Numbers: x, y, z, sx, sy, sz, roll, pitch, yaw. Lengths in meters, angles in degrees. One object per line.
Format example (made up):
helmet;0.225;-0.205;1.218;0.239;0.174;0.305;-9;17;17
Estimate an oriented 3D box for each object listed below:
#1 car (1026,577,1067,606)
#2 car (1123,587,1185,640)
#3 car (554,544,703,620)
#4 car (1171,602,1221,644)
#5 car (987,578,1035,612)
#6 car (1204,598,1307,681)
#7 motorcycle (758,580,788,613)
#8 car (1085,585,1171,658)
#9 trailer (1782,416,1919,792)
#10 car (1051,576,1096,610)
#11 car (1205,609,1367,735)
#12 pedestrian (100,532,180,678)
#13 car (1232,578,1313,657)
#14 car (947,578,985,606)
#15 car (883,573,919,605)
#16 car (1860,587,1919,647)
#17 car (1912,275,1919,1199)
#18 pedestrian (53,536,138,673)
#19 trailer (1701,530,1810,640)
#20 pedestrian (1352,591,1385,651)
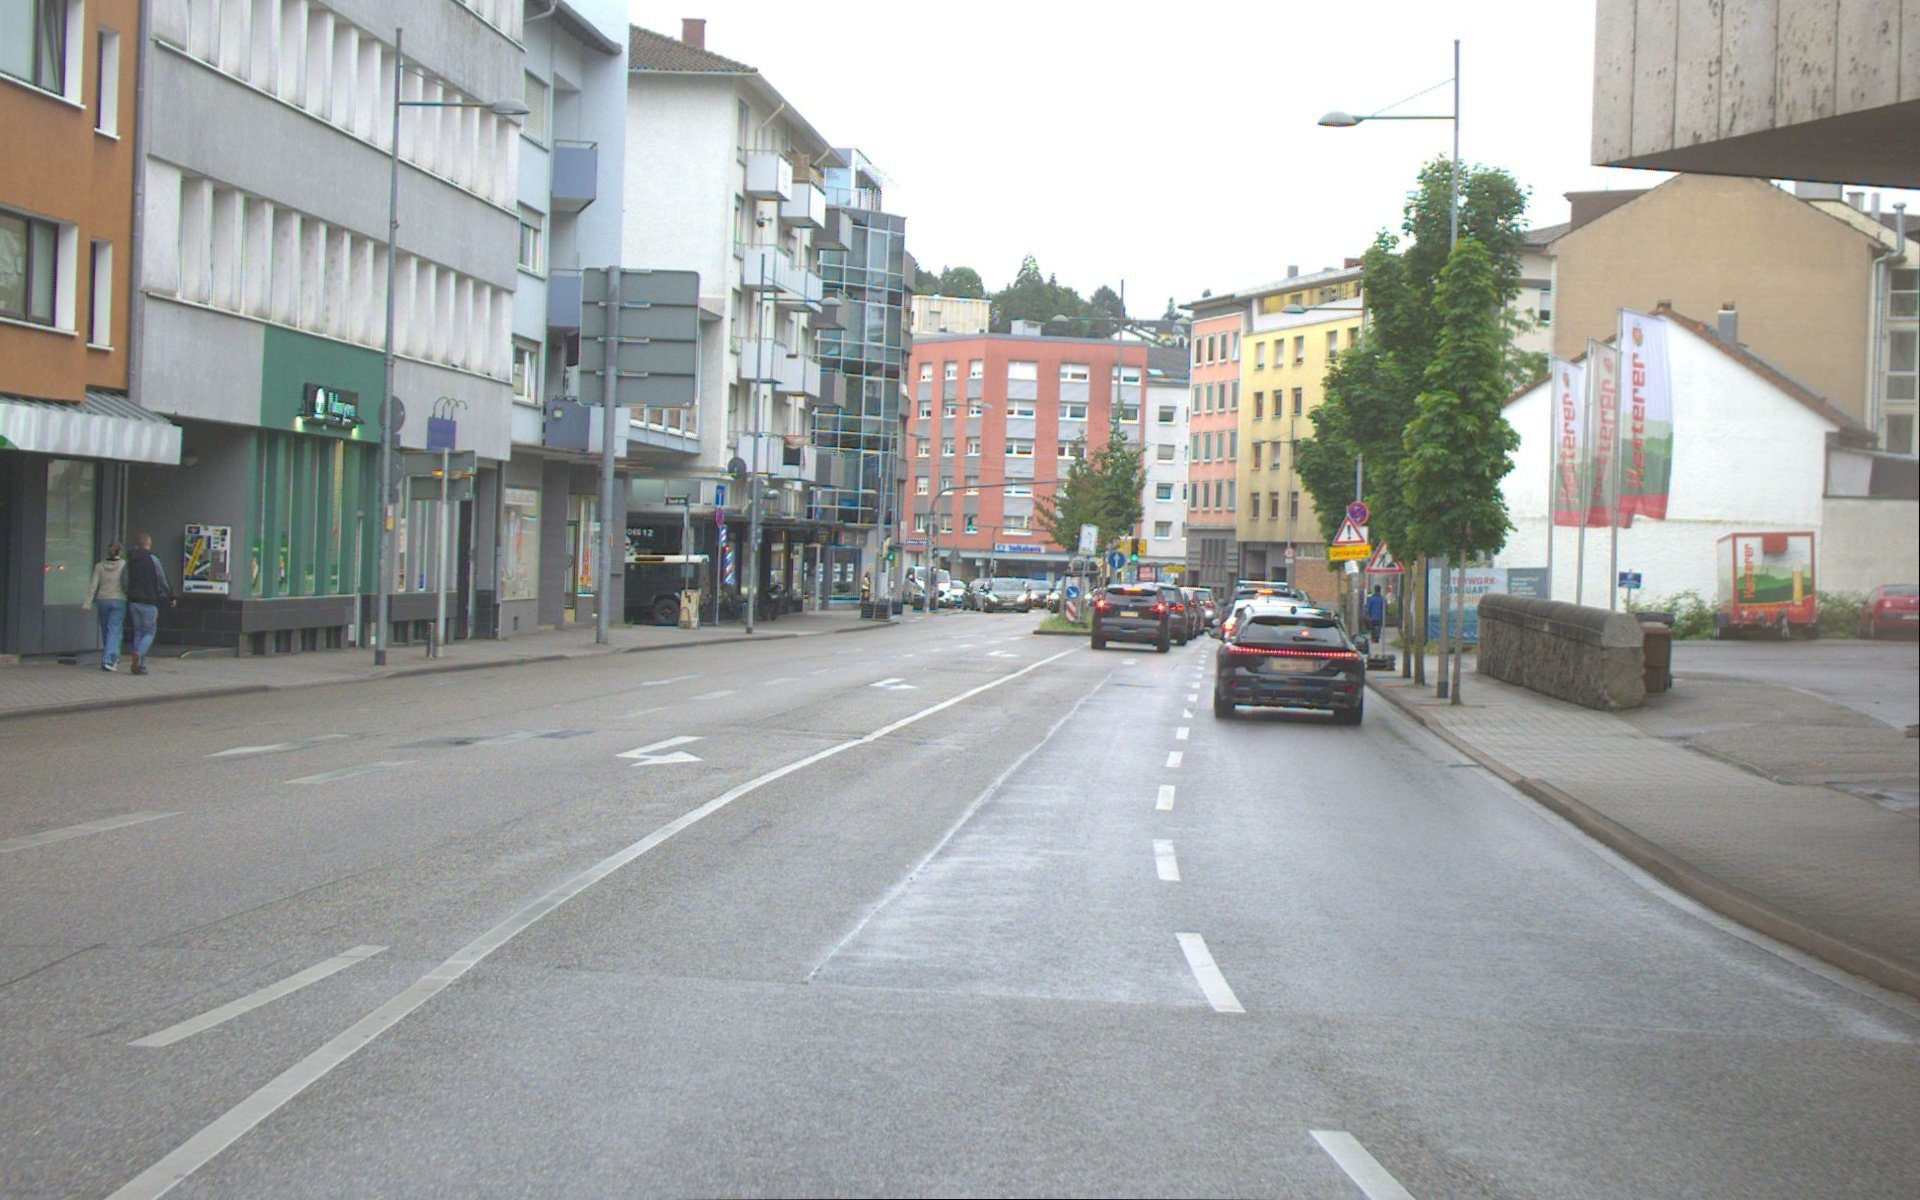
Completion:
car;4.321;-0.426;172.443;1.720;1.418;4.165;0;0;-3
car;5.250;0.351;92.858;1.641;1.376;3.348;1;0;4
car;-9.520;-0.529;98.906;3.964;2.027;1.580;2;0;6
car;8.050;0.765;117.535;1.641;1.376;3.348;1;0;4
car;2.239;-0.217;149.958;1.708;1.463;4.828;0;0;5
car;5.416;0.710;63.358;1.665;1.391;3.867;0;1;2
motorcycle;-5.907;-0.123;108.690;0.526;0.992;2.136;4;1;6
car;4.069;0.496;82.818;1.823;1.595;3.718;4;1;5
trailer;9.641;0.057;28.539;2.627;3.165;5.718;1;0;-22
car;4.924;-0.301;148.790;1.720;1.418;4.164;0;0;5
car;4.154;0.885;44.372;1.790;1.398;4.633;3;1;3
pedestrian;-10.400;0.061;43.639;0.575;1.782;0.826;6;0;5
car;7.956;0.420;87.269;1.831;1.799;3.718;4;2;6
car;0.308;-0.422;176.935;1.720;1.418;4.165;0;0;-3
car;-3.031;-0.573;176.111;1.455;1.425;3.371;4;1;-6
car;23.579;0.420;86.232;1.590;1.451;3.263;1;0;9
car;2.671;0.503;3.204;2.102;2.082;5.541;0;1;1
pedestrian;-10.999;0.057;43.768;0.630;1.669;0.908;6;1;4
trailer;20.219;-0.410;87.565;2.127;2.707;5.390;0;1;7
pedestrian;12.002;0.623;101.092;0.792;1.749;0.871;1;0;18
